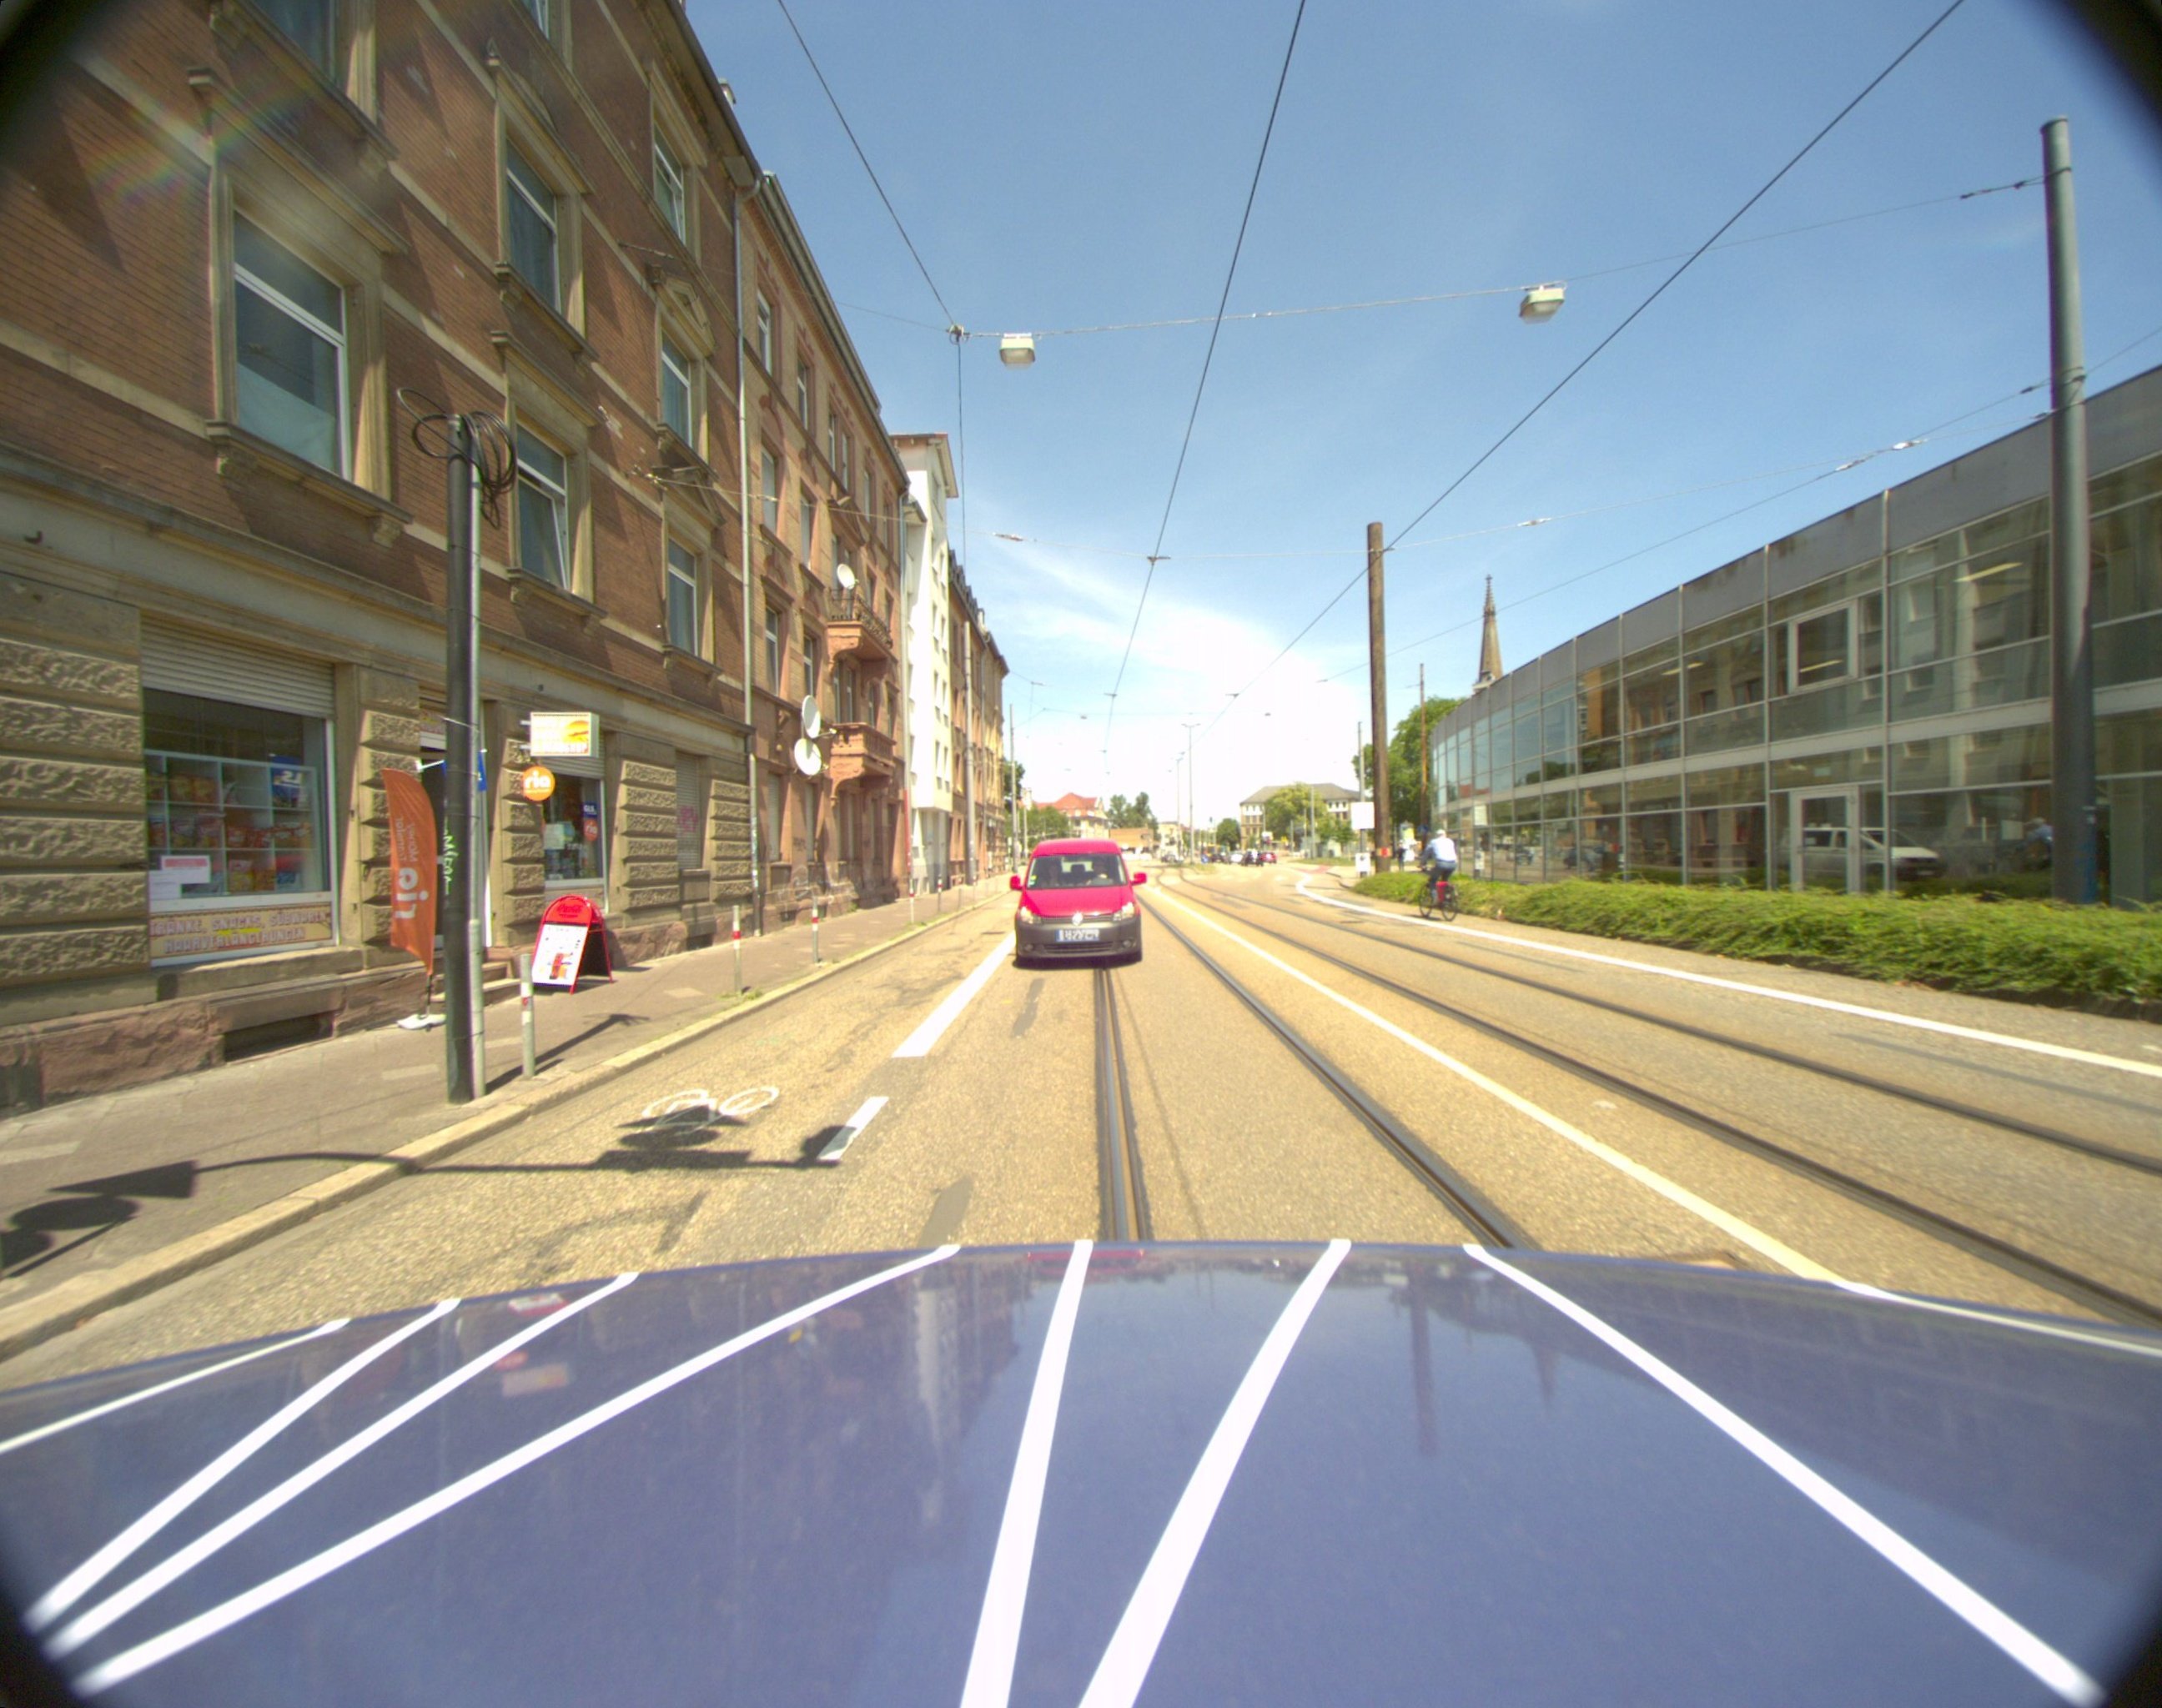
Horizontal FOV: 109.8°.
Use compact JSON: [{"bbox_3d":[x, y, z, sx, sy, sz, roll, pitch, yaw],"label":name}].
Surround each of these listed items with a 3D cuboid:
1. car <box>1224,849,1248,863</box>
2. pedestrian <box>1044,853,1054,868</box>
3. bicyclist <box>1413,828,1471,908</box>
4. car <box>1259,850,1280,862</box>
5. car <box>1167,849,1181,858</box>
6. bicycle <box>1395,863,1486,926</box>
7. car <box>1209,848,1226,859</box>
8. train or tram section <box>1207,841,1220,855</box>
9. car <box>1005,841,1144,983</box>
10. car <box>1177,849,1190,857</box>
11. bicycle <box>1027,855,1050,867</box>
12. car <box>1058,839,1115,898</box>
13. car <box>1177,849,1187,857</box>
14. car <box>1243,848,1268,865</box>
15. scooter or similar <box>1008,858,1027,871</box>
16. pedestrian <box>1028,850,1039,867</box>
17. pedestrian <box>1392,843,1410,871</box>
[{"bbox_3d":[18.494,0.225,90.753,1.998,1.521,5.131,1,1,1],"label":"car"},{"bbox_3d":[-3.709,0.725,88.016,0.808,1.769,0.876,-1,1,34],"label":"pedestrian"},{"bbox_3d":[7.251,0.267,15.300,0.699,1.539,0.980,-1,1,0],"label":"bicyclist"},{"bbox_3d":[23.811,0.231,96.212,1.762,1.359,4.289,-1,0,3],"label":"car"},{"bbox_3d":[14.683,-0.089,119.620,1.847,1.471,4.331,0,0,3],"label":"car"},{"bbox_3d":[7.269,0.772,15.520,0.699,1.138,2.495,-1,0,0],"label":"bicycle"},{"bbox_3d":[18.296,-0.085,102.244,1.675,1.453,3.903,0,0,1],"label":"car"},{"bbox_3d":[31.343,-1.317,179.802,2.839,3.195,9.117,-1,0,11],"label":"train or tram section"},{"bbox_3d":[-0.004,0.738,11.857,1.755,1.802,4.097,-1,0,2],"label":"car"},{"bbox_3d":[17.336,-0.110,128.418,1.711,1.291,4.203,0,1,1],"label":"car"},{"bbox_3d":[-4.672,0.778,83.510,2.225,1.243,1.096,-1,0,-43],"label":"bicycle"},{"bbox_3d":[0.233,0.475,27.327,1.874,1.954,3.823,-1,0,1],"label":"car"},{"bbox_3d":[20.167,-0.145,152.417,1.552,1.527,3.679,-1,0,1],"label":"car"},{"bbox_3d":[17.845,0.240,77.927,1.826,1.617,4.526,0,0,4],"label":"car"},{"bbox_3d":[-5.629,0.936,67.718,1.527,1.149,0.713,-1,0,-27],"label":"scooter or similar"},{"bbox_3d":[-5.184,0.467,83.061,0.826,1.765,0.812,-3,2,-43],"label":"pedestrian"},{"bbox_3d":[19.315,0.168,45.871,0.729,1.632,0.820,-1,1,5],"label":"pedestrian"}]
